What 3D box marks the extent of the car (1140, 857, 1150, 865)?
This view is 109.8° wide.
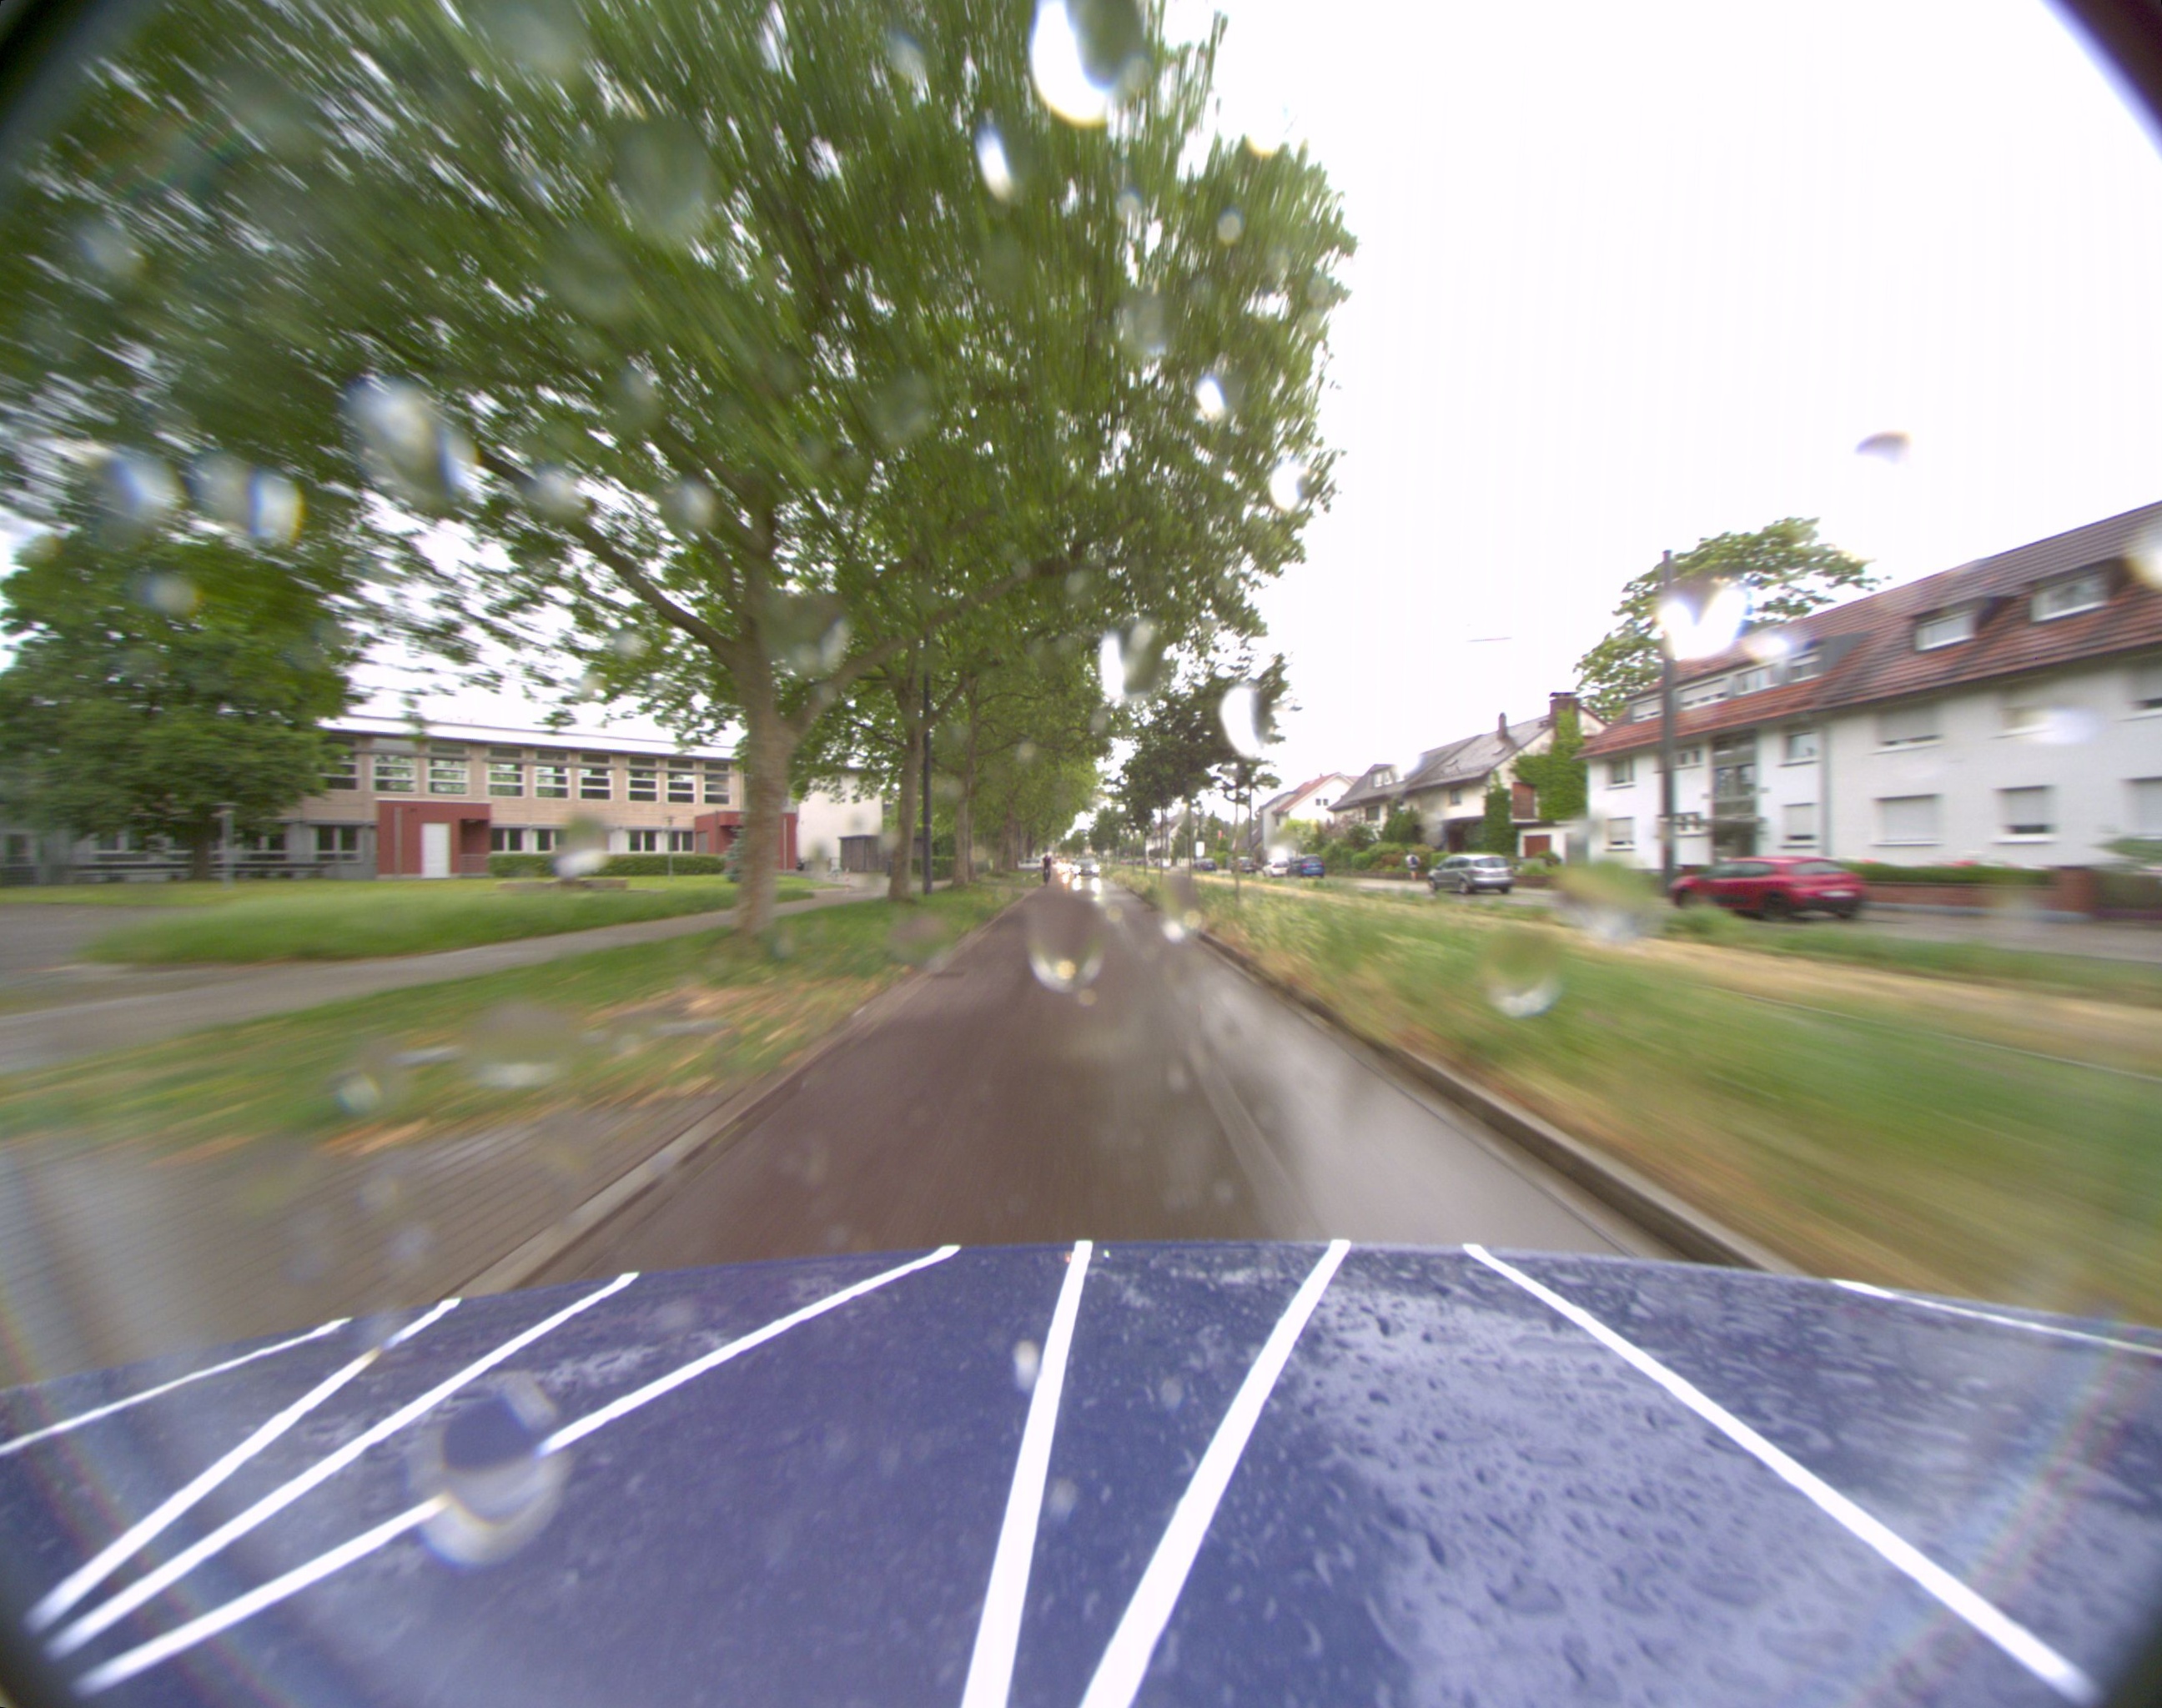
[{"bbox_3d":[12.856,1.437,152.764,1.759,1.507,3.854,-3,0,0],"label":"car"}]

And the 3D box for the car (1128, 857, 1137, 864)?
[{"bbox_3d":[11.697,1.483,173.808,1.759,1.507,3.854,-3,0,0],"label":"car"}]

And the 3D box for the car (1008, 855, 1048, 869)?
[{"bbox_3d":[-5.654,0.882,81.014,4.020,1.478,1.636,0,0,-20],"label":"car"}]

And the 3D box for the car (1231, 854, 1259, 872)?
[{"bbox_3d":[16.010,0.862,74.342,1.759,1.604,4.110,-3,0,0],"label":"car"}]

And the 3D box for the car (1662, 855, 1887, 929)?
[{"bbox_3d":[16.626,0.837,18.541,1.846,1.538,3.973,-3,0,1],"label":"car"}]

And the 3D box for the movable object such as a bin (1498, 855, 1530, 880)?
[{"bbox_3d":[23.173,0.699,40.705,1.257,1.290,0.739,-2,0,1],"label":"movable object such as a bin"}]

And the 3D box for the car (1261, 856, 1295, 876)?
[{"bbox_3d":[16.228,0.938,62.787,1.718,1.520,3.601,-3,0,-1],"label":"car"}]

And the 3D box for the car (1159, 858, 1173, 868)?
[{"bbox_3d":[14.077,1.420,125.610,1.759,1.507,3.854,-3,0,0],"label":"car"}]

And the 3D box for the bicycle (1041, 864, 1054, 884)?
[{"bbox_3d":[-1.801,1.089,41.114,0.659,1.008,2.256,0,1,-2],"label":"bicycle"}]

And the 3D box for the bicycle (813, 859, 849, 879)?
[{"bbox_3d":[-14.402,0.872,43.874,0.519,1.115,1.942,3,1,43],"label":"bicycle"}]

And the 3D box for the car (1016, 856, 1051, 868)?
[{"bbox_3d":[-5.774,0.986,92.590,4.020,1.478,1.636,0,0,-20],"label":"car"}]

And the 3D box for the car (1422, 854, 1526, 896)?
[{"bbox_3d":[16.435,0.825,32.075,1.998,1.604,4.684,-2,0,1],"label":"car"}]

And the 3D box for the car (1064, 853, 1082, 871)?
[{"bbox_3d":[-0.862,0.810,79.729,1.767,1.715,3.934,-1,0,-1],"label":"car"}]

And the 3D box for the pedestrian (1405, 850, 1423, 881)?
[{"bbox_3d":[18.930,0.653,43.208,0.599,1.757,0.869,-1,0,0],"label":"pedestrian"}]

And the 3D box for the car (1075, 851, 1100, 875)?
[{"bbox_3d":[0.472,0.706,58.150,1.767,1.715,3.934,-2,-1,0],"label":"car"}]

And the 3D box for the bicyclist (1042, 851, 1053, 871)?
[{"bbox_3d":[-1.800,0.394,41.039,0.622,1.078,0.624,0,1,-2],"label":"bicyclist"}]

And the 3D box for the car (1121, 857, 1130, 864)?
[{"bbox_3d":[10.880,1.589,185.586,1.759,1.507,3.854,-3,0,0],"label":"car"}]

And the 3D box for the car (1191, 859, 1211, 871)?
[{"bbox_3d":[15.176,1.425,96.278,1.893,1.490,4.000,0,0,0],"label":"car"}]

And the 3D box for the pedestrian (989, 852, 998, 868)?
[{"bbox_3d":[-8.213,0.591,71.511,0.748,1.529,0.585,0,0,-1],"label":"pedestrian"}]

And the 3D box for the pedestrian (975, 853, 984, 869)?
[{"bbox_3d":[-9.550,0.641,71.376,0.748,1.529,0.585,0,0,-1],"label":"pedestrian"}]

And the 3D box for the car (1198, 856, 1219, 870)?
[{"bbox_3d":[15.404,1.094,91.881,1.759,1.507,3.854,-3,0,0],"label":"car"}]

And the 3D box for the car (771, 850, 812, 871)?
[{"bbox_3d":[-20.837,0.471,54.632,1.753,1.443,3.572,-2,1,-38],"label":"car"}]

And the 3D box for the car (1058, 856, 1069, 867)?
[{"bbox_3d":[-2.834,1.251,121.957,1.768,1.715,3.933,0,1,-2],"label":"car"}]

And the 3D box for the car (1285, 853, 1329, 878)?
[{"bbox_3d":[16.552,0.805,55.851,1.849,1.696,4.182,-1,0,-1],"label":"car"}]

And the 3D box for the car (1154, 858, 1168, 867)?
[{"bbox_3d":[13.695,1.475,130.152,1.759,1.507,3.854,-3,0,0],"label":"car"}]
